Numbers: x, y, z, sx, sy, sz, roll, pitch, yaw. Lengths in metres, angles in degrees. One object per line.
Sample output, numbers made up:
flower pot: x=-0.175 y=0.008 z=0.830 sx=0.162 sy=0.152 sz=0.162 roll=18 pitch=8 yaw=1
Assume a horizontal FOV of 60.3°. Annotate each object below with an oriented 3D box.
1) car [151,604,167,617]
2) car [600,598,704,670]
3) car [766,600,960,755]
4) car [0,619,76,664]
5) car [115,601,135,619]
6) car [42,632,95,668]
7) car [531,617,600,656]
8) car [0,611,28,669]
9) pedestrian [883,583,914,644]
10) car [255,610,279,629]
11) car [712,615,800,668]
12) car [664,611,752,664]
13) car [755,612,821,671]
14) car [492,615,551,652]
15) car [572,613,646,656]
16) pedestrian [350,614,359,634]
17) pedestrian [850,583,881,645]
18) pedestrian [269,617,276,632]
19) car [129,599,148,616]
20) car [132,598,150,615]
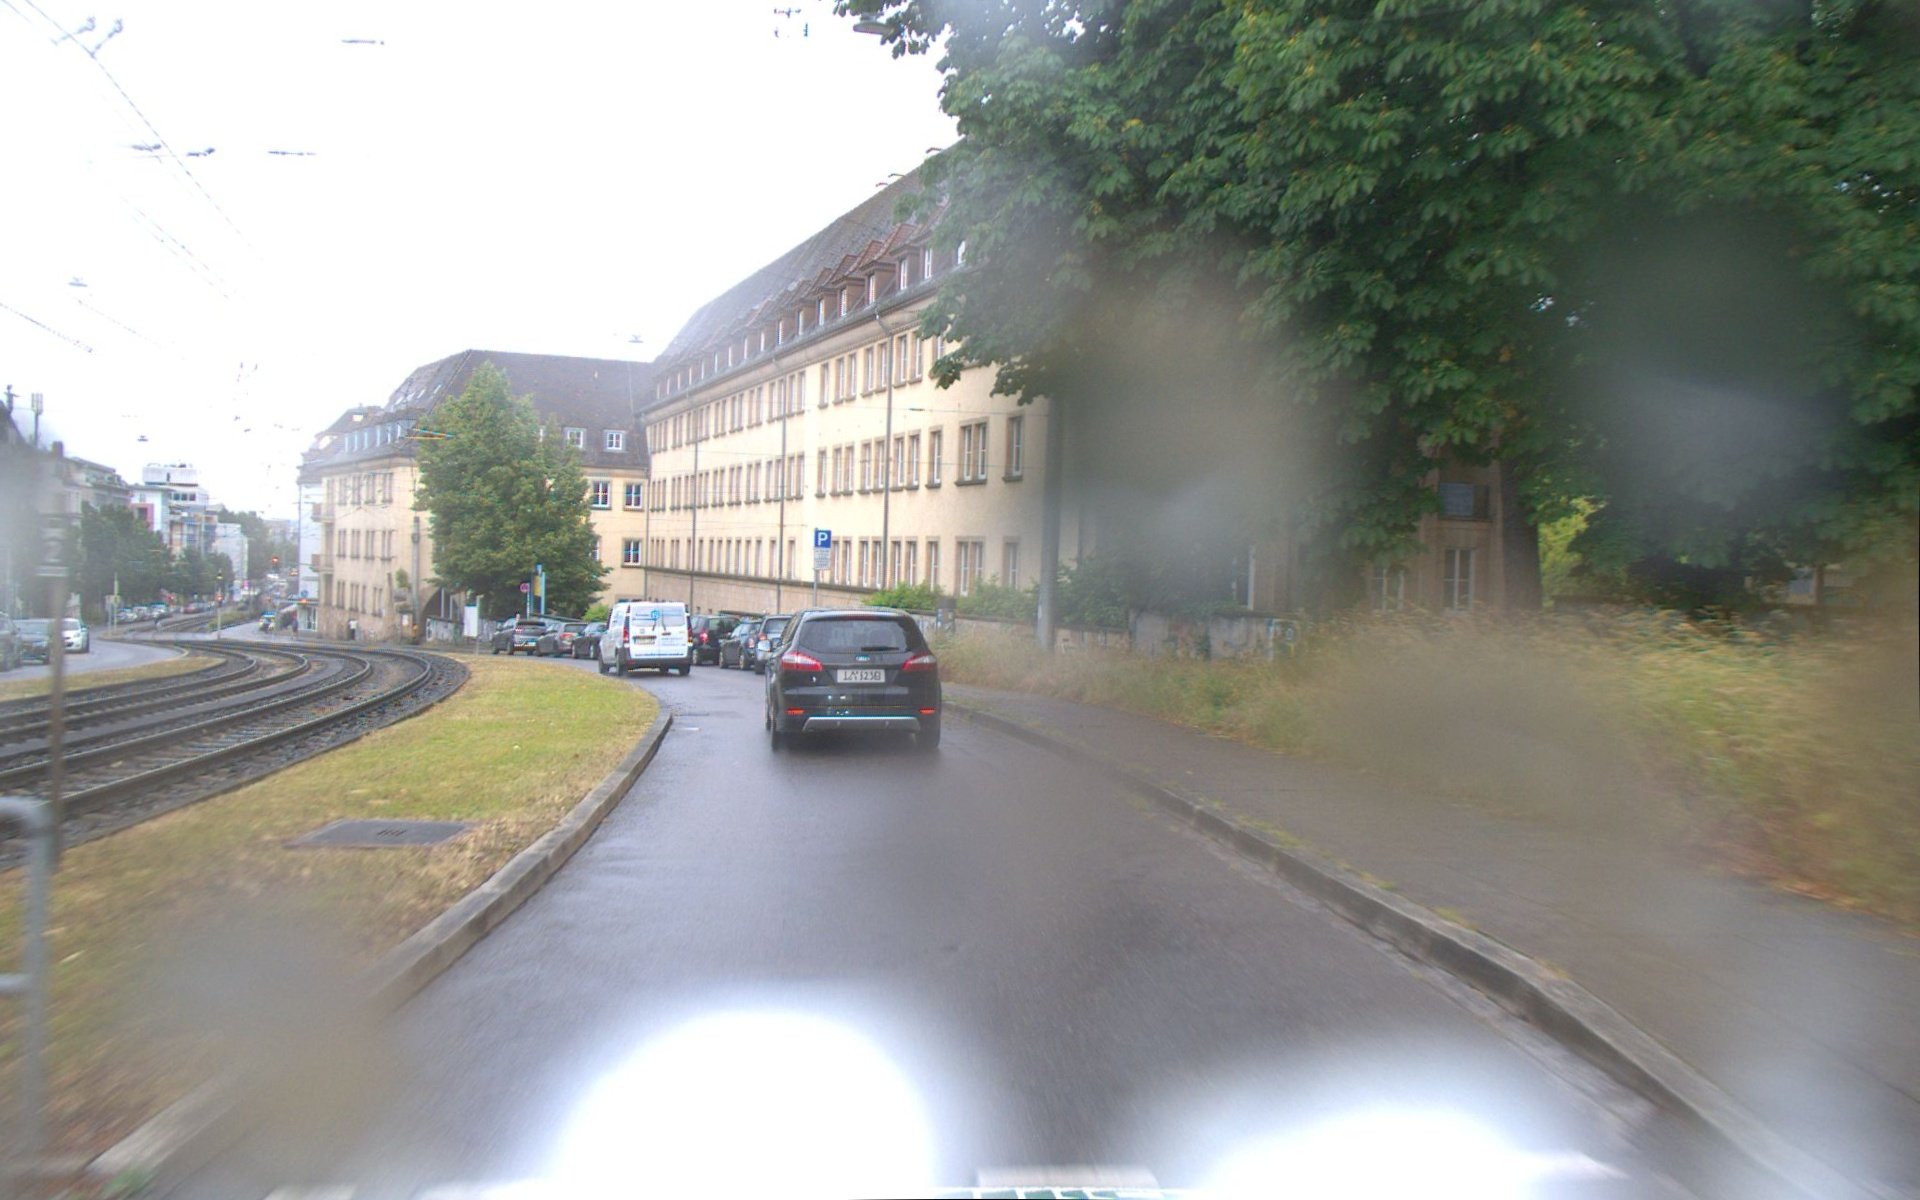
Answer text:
car: x=-106.776 y=1.436 z=220.493 sx=1.969 sy=1.691 sz=3.967 roll=1 pitch=-1 yaw=-26
car: x=-8.158 y=0.848 z=43.537 sx=2.104 sy=1.776 sz=4.195 roll=0 pitch=0 yaw=-19
car: x=-1.187 y=0.763 z=18.405 sx=1.884 sy=1.505 sz=3.993 roll=0 pitch=0 yaw=-7
car: x=-31.474 y=1.392 z=56.279 sx=1.938 sy=1.456 sz=4.171 roll=1 pitch=-1 yaw=-22
car: x=-96.704 y=1.170 z=191.585 sx=1.969 sy=2.049 sz=3.967 roll=1 pitch=-1 yaw=-26
car: x=-39.808 y=2.203 z=73.917 sx=1.742 sy=1.505 sz=3.707 roll=0 pitch=-1 yaw=-23
car: x=-16.175 y=1.485 z=67.650 sx=1.648 sy=1.502 sz=4.066 roll=-1 pitch=0 yaw=-30
car: x=-27.637 y=1.102 z=46.371 sx=1.776 sy=1.611 sz=4.671 roll=1 pitch=-1 yaw=-19
pedestrian: x=-1.808 y=0.388 z=48.653 sx=0.707 sy=1.785 sz=0.735 roll=-1 pitch=0 yaw=-19
car: x=-66.637 y=1.826 z=159.066 sx=1.964 sy=1.803 sz=3.976 roll=0 pitch=-1 yaw=-20
car: x=-5.955 y=1.182 z=47.910 sx=1.516 sy=1.441 sz=3.615 roll=-1 pitch=0 yaw=-24
car: x=-8.109 y=1.181 z=52.973 sx=1.646 sy=1.600 sz=3.822 roll=-1 pitch=0 yaw=-27
car: x=-4.619 y=1.087 z=44.183 sx=1.569 sy=1.491 sz=2.714 roll=-1 pitch=0 yaw=-10
car: x=-19.321 y=1.464 z=72.718 sx=1.646 sy=1.551 sz=4.071 roll=-1 pitch=0 yaw=-28
car: x=-13.301 y=1.277 z=62.509 sx=1.646 sy=1.502 sz=4.416 roll=-1 pitch=0 yaw=-28
pedestrian: x=-42.373 y=1.672 z=115.702 sx=0.499 sy=1.338 sz=0.505 roll=1 pitch=-1 yaw=-31
pedestrian: x=-2.763 y=0.415 z=48.295 sx=0.707 sy=1.785 sz=0.735 roll=-1 pitch=0 yaw=-19
pedestrian: x=-59.291 y=2.117 z=142.603 sx=0.504 sy=1.338 sz=0.501 roll=0 pitch=-1 yaw=-29
car: x=-98.879 y=0.949 z=199.001 sx=1.969 sy=2.049 sz=3.967 roll=1 pitch=-1 yaw=-26
car: x=-102.873 y=0.853 z=207.737 sx=1.969 sy=2.049 sz=3.967 roll=1 pitch=-1 yaw=-26
